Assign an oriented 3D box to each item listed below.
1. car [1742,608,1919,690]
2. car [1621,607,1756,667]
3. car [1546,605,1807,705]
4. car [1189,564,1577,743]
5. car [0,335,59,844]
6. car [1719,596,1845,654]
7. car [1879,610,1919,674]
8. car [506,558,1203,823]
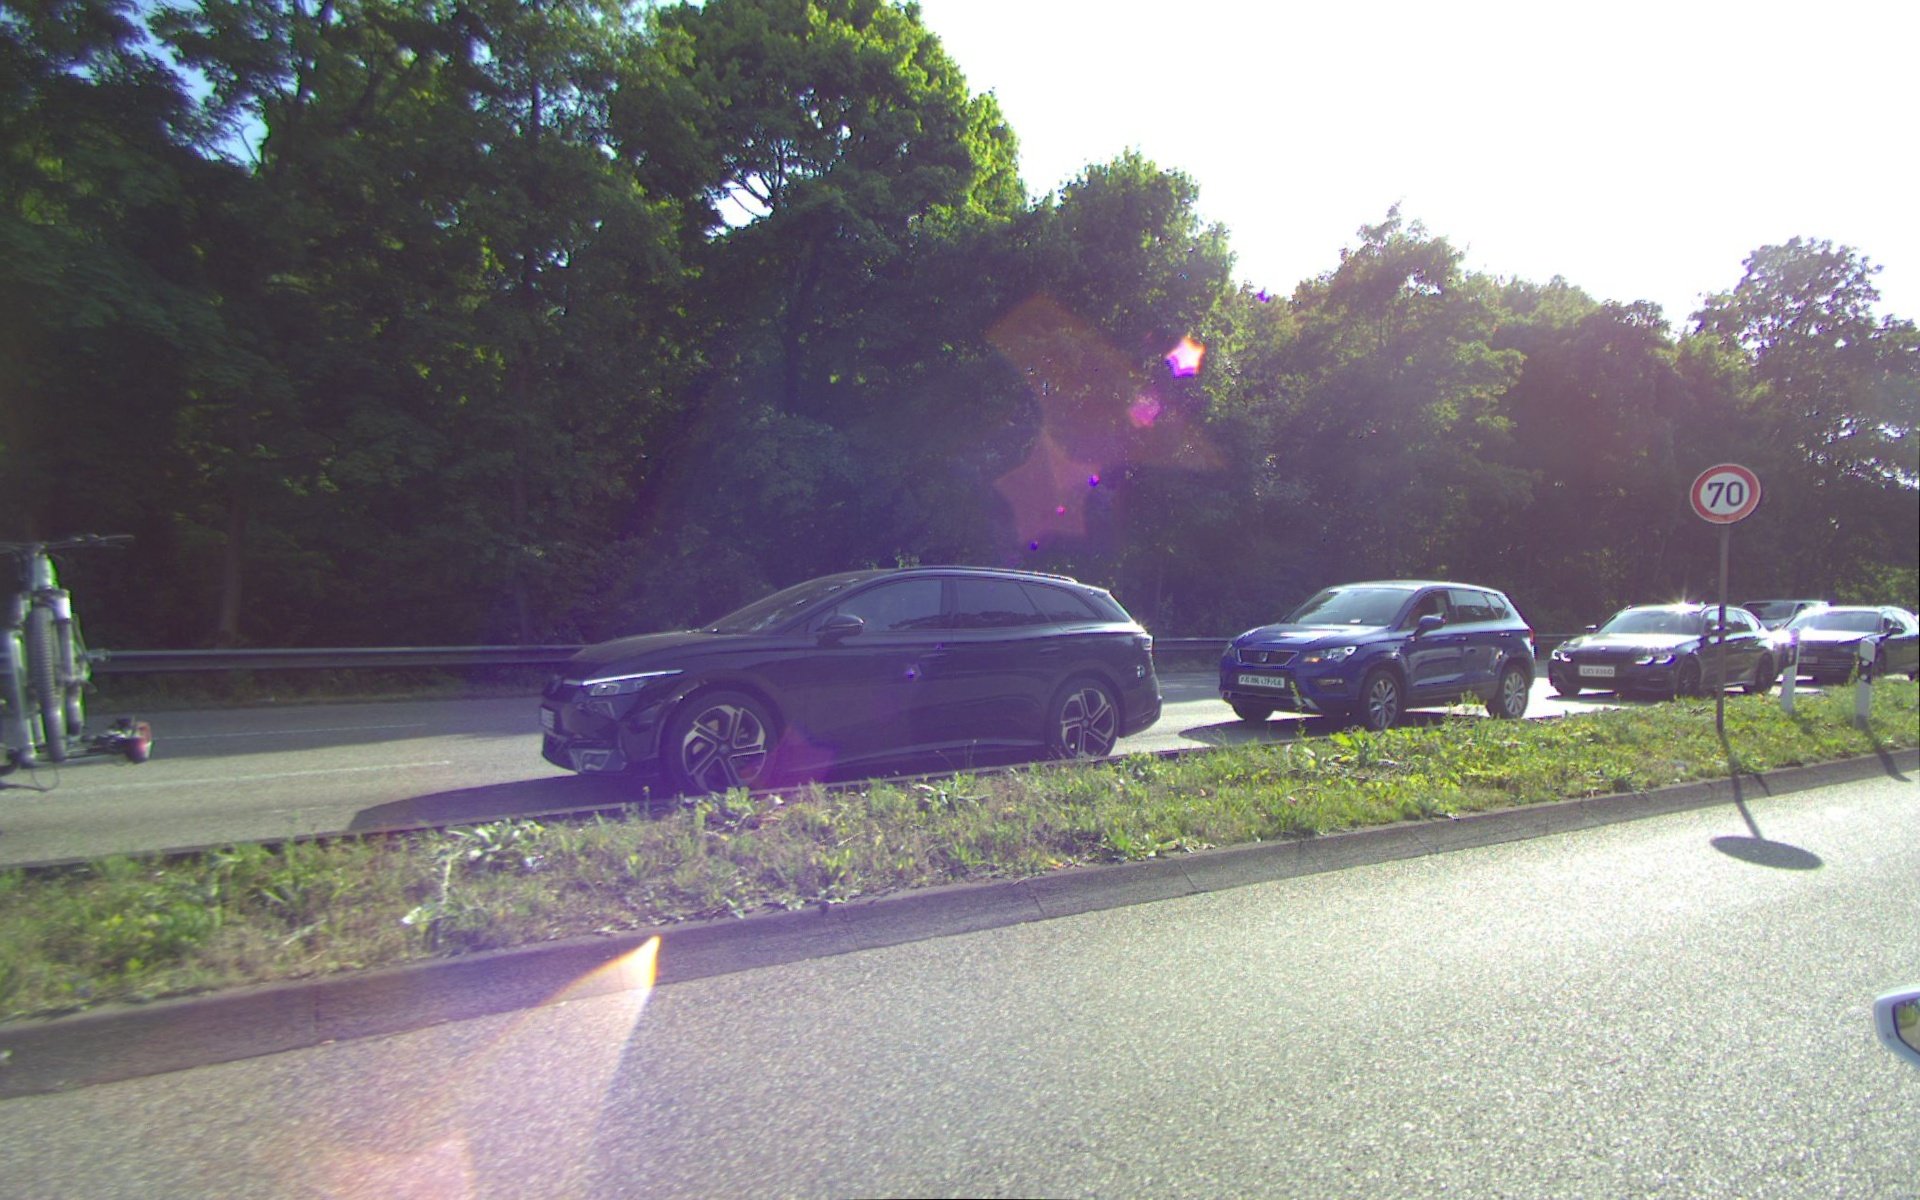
[{"bbox_3d":[17.596,0.891,19.871,5.136,1.442,1.761,0,-1,-33],"label":"car"},{"bbox_3d":[18.258,0.890,25.143,3.579,1.402,1.537,1,0,-33],"label":"car"},{"bbox_3d":[11.509,0.791,16.025,4.790,1.398,1.761,0,-1,-33],"label":"car"},{"bbox_3d":[4.963,0.529,11.539,4.748,1.691,1.761,0,-1,-33],"label":"car"},{"bbox_3d":[-7.498,-0.071,3.569,6.096,2.567,2.063,0,0,-33],"label":"car"},{"bbox_3d":[29.295,0.864,35.762,5.046,1.961,2.000,1,0,-33],"label":"car"},{"bbox_3d":[23.423,0.950,23.611,4.165,1.442,1.697,0,-1,-33],"label":"car"},{"bbox_3d":[-0.589,0.530,7.730,5.129,1.476,1.750,0,-1,-33],"label":"car"}]
